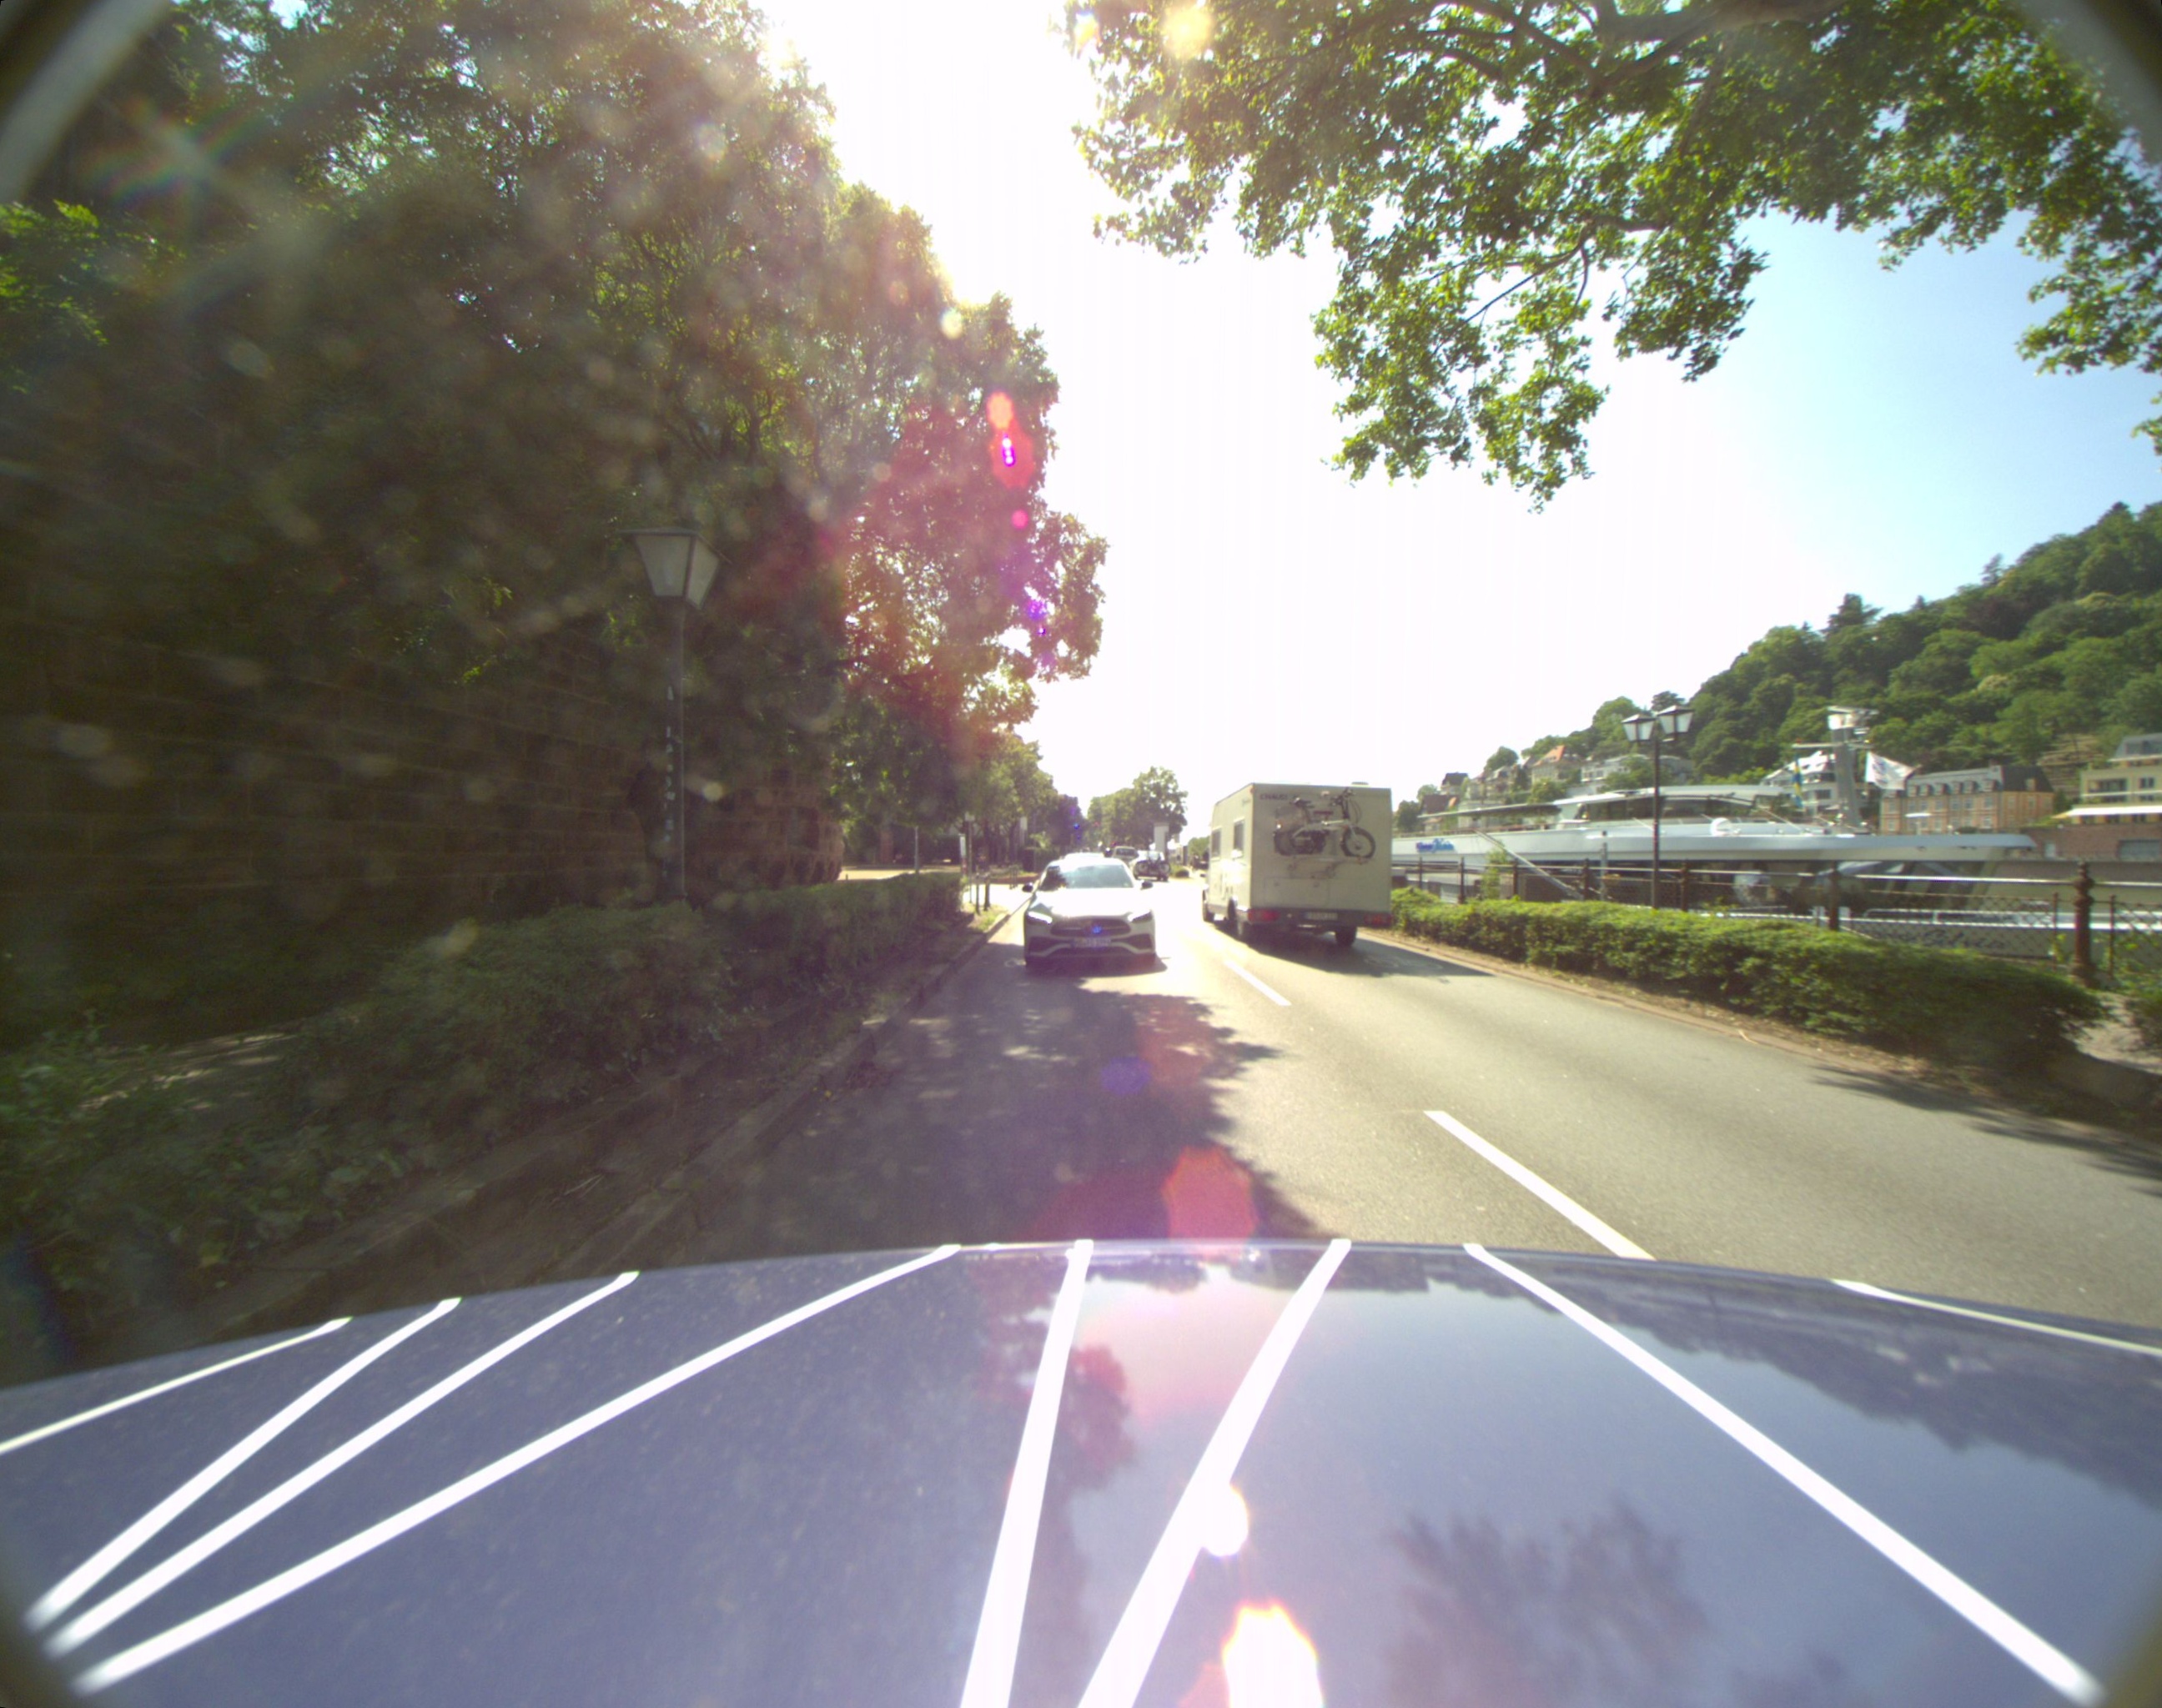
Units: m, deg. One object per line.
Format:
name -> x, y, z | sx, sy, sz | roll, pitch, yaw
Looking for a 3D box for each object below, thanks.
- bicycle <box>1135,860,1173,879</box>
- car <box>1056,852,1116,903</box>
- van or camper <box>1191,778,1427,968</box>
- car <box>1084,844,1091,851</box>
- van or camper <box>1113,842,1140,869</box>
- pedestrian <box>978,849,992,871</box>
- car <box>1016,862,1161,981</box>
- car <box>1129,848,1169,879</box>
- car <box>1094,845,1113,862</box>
bicycle -> 3.797, 0.814, 39.769 | 1.873, 0.921, 0.955 | 1, 1, 1
car -> 0.157, 0.738, 25.826 | 1.854, 1.543, 3.848 | 1, 1, 0
van or camper -> 3.695, 0.236, 13.945 | 2.328, 2.647, 6.263 | 2, 1, -1
car -> 2.026, -1.857, 226.785 | 1.923, 1.975, 4.000 | 1, 0, 1
van or camper -> 3.544, 0.102, 59.795 | 1.923, 1.975, 4.000 | 1, 1, 1
pedestrian -> -5.381, 0.323, 42.725 | 0.632, 1.186, 0.747 | -2, 1, 2
car -> 0.088, 0.892, 11.903 | 1.829, 1.418, 4.358 | -1, 0, 0
car -> 3.746, 0.498, 42.182 | 1.826, 1.603, 3.959 | 1, 1, 0
car -> 2.403, -0.084, 80.506 | 1.826, 1.605, 3.959 | 2, 1, 0
